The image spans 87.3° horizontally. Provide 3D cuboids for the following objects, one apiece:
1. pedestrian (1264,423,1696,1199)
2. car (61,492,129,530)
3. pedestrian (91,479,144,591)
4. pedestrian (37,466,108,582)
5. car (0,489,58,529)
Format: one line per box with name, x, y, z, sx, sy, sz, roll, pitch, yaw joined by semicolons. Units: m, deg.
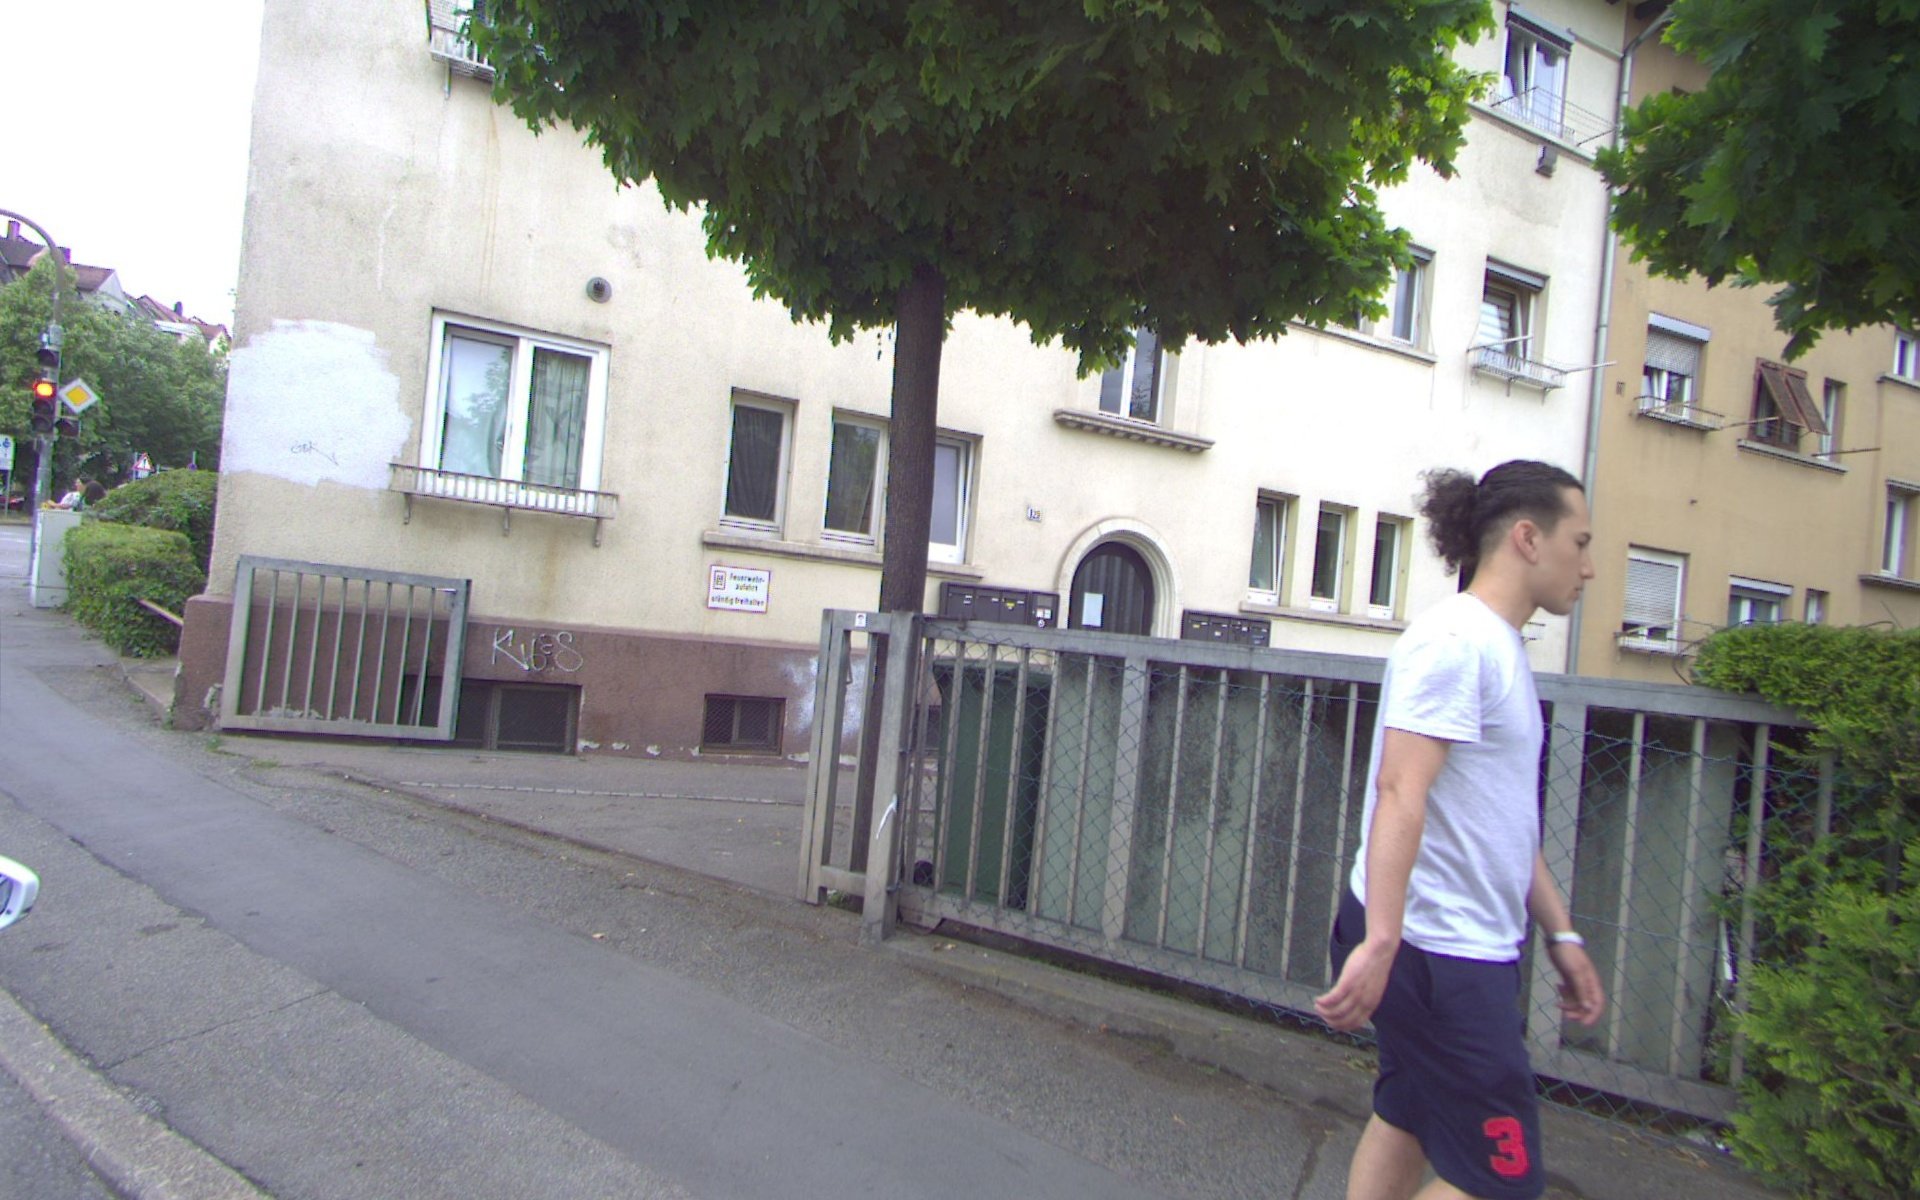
pedestrian;0.915;0.620;1.858;0.459;1.761;0.693;7;3;29
car;-62.818;-6.459;73.163;1.970;2.036;3.991;8;-3;-15
pedestrian;-14.561;-1.111;17.393;0.462;1.857;0.320;9;-2;-44
pedestrian;-14.879;-1.270;16.868;0.521;1.840;0.590;6;-2;36
car;-60.838;-5.911;64.980;1.970;2.036;3.991;8;-3;-15
